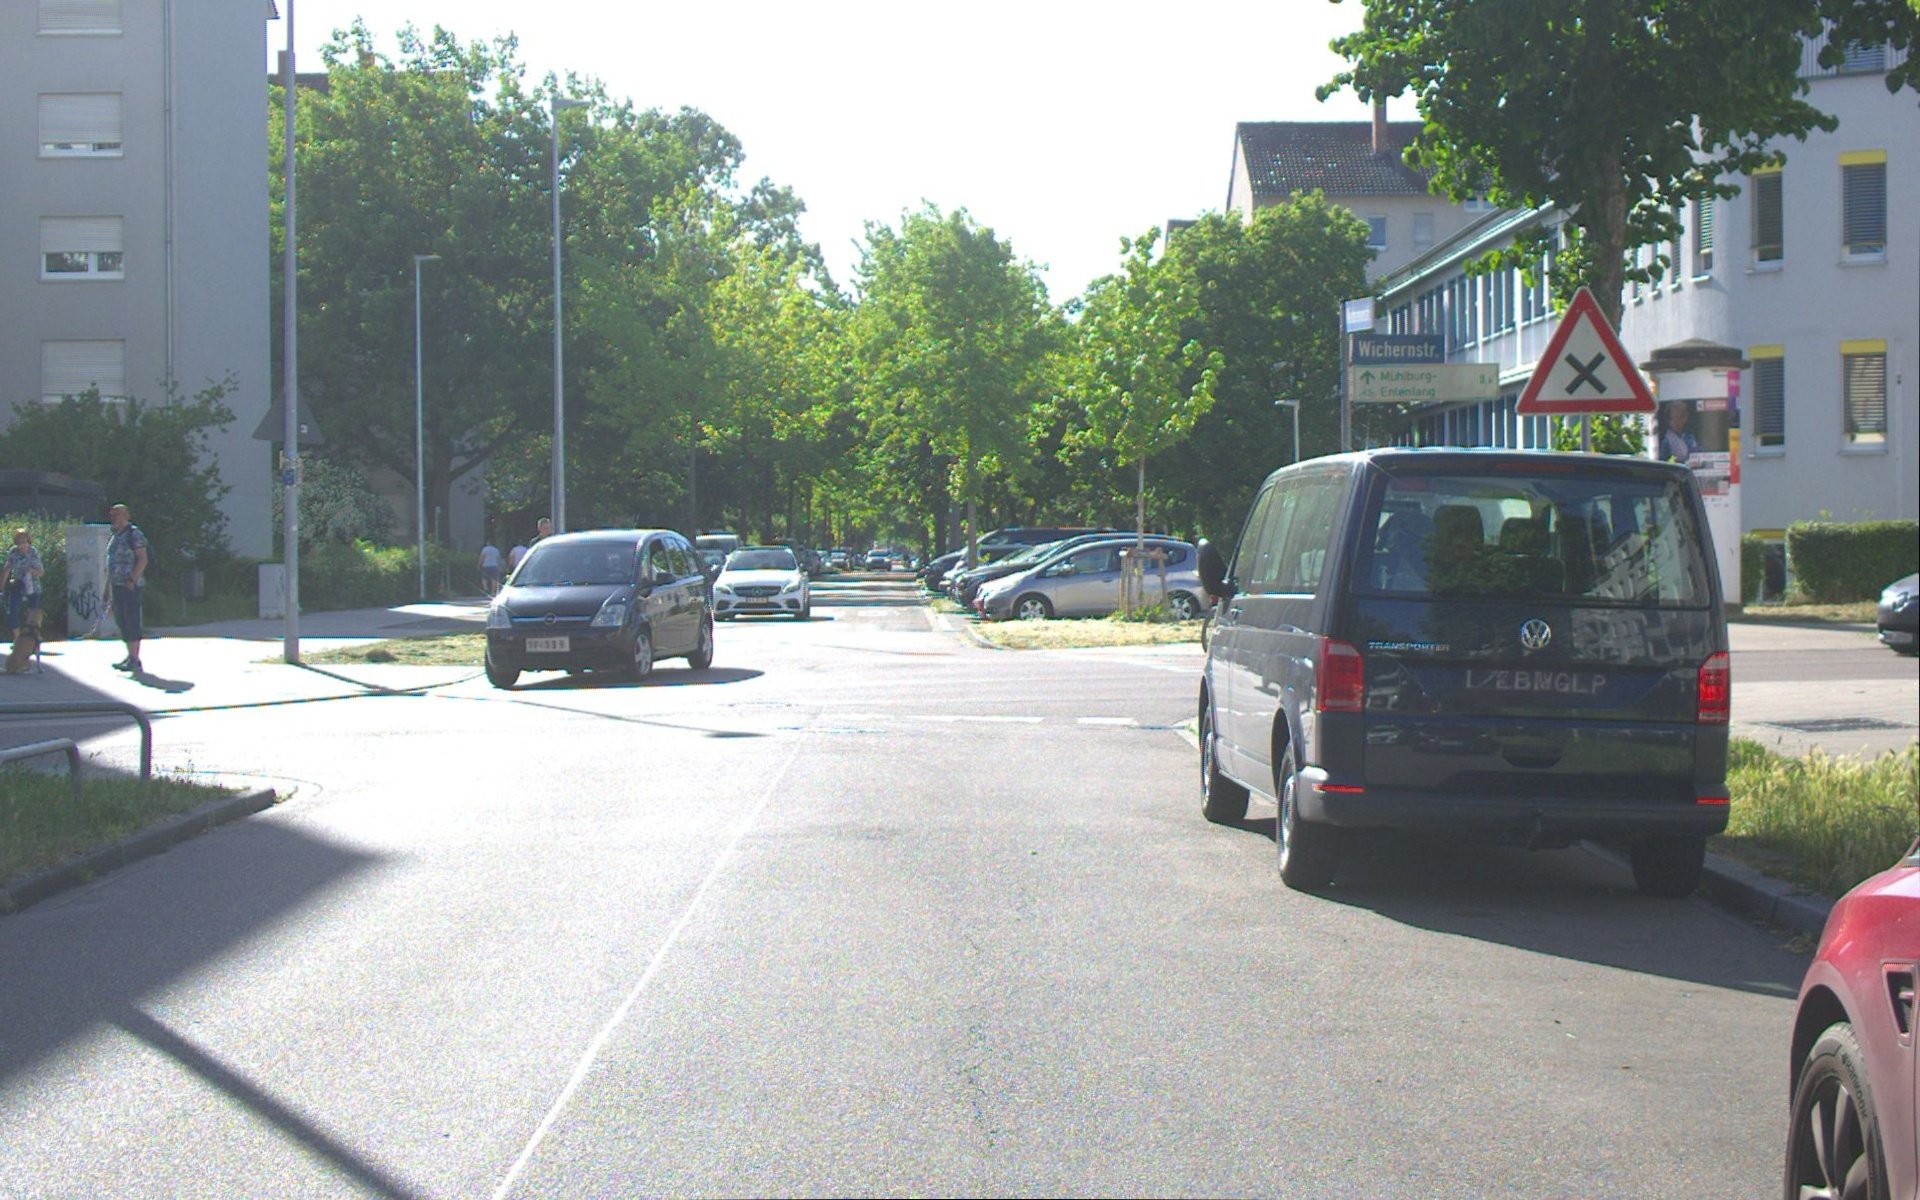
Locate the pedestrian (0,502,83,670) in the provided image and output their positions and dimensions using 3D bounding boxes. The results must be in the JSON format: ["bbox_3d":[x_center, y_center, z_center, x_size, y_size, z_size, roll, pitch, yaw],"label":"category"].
[{"bbox_3d":[-11.863,-0.195,43.970,0.775,2.113,0.956,2,3,43],"label":"pedestrian"}]

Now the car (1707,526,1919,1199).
[{"bbox_3d":[2.454,0.699,4.538,1.899,1.608,4.972,0,0,1],"label":"car"}]

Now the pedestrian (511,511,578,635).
[{"bbox_3d":[-5.782,-0.379,47.880,0.870,1.708,0.979,-1,1,-4],"label":"pedestrian"}]

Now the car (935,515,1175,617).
[{"bbox_3d":[1.747,-0.629,64.252,4.278,1.758,2.000,2,0,-3],"label":"car"}]

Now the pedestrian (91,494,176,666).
[{"bbox_3d":[-9.209,-0.222,38.327,0.843,1.878,0.791,2,0,-11],"label":"pedestrian"}]

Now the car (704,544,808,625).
[{"bbox_3d":[-4.071,-0.328,69.279,1.885,1.499,4.638,3,0,-2],"label":"car"}]

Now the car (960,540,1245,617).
[{"bbox_3d":[2.509,-0.386,61.064,4.869,1.270,1.729,-1,1,-5],"label":"car"}]

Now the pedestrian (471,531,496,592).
[{"bbox_3d":[-13.069,-1.065,94.281,0.634,1.659,0.700,-1,1,-6],"label":"pedestrian"}]

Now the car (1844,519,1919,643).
[{"bbox_3d":[13.272,-0.229,42.857,4.123,1.499,1.843,0,1,-26],"label":"car"}]

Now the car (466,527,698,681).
[{"bbox_3d":[-4.013,0.030,37.114,1.737,1.525,4.113,2,0,4],"label":"car"}]

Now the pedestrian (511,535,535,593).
[{"bbox_3d":[-12.464,-1.028,98.099,0.634,1.659,0.700,-1,1,-6],"label":"pedestrian"}]

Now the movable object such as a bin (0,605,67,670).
[{"bbox_3d":[-10.157,0.406,37.490,0.272,0.677,0.847,0,2,32],"label":"movable object such as a bin"}]

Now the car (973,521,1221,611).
[{"bbox_3d":[2.327,-0.580,59.021,4.088,1.487,1.729,0,0,-4],"label":"car"}]

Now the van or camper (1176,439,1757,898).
[{"bbox_3d":[2.280,0.267,17.028,1.989,1.856,5.387,2,0,0],"label":"van or camper"}]

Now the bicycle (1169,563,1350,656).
[{"bbox_3d":[3.307,0.104,37.991,1.912,1.008,0.550,0,0,-9],"label":"bicycle"}]

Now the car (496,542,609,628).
[{"bbox_3d":[-7.145,-0.271,60.585,1.667,1.415,4.000,2,0,-3],"label":"car"}]

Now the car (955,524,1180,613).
[{"bbox_3d":[2.061,-0.611,67.076,4.203,1.590,2.000,2,0,-2],"label":"car"}]

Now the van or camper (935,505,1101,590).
[{"bbox_3d":[1.399,-1.296,84.825,3.987,2.007,2.000,1,0,-1],"label":"van or camper"}]

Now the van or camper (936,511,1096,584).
[{"bbox_3d":[1.403,-1.330,87.686,3.987,1.766,2.000,1,0,-1],"label":"van or camper"}]
